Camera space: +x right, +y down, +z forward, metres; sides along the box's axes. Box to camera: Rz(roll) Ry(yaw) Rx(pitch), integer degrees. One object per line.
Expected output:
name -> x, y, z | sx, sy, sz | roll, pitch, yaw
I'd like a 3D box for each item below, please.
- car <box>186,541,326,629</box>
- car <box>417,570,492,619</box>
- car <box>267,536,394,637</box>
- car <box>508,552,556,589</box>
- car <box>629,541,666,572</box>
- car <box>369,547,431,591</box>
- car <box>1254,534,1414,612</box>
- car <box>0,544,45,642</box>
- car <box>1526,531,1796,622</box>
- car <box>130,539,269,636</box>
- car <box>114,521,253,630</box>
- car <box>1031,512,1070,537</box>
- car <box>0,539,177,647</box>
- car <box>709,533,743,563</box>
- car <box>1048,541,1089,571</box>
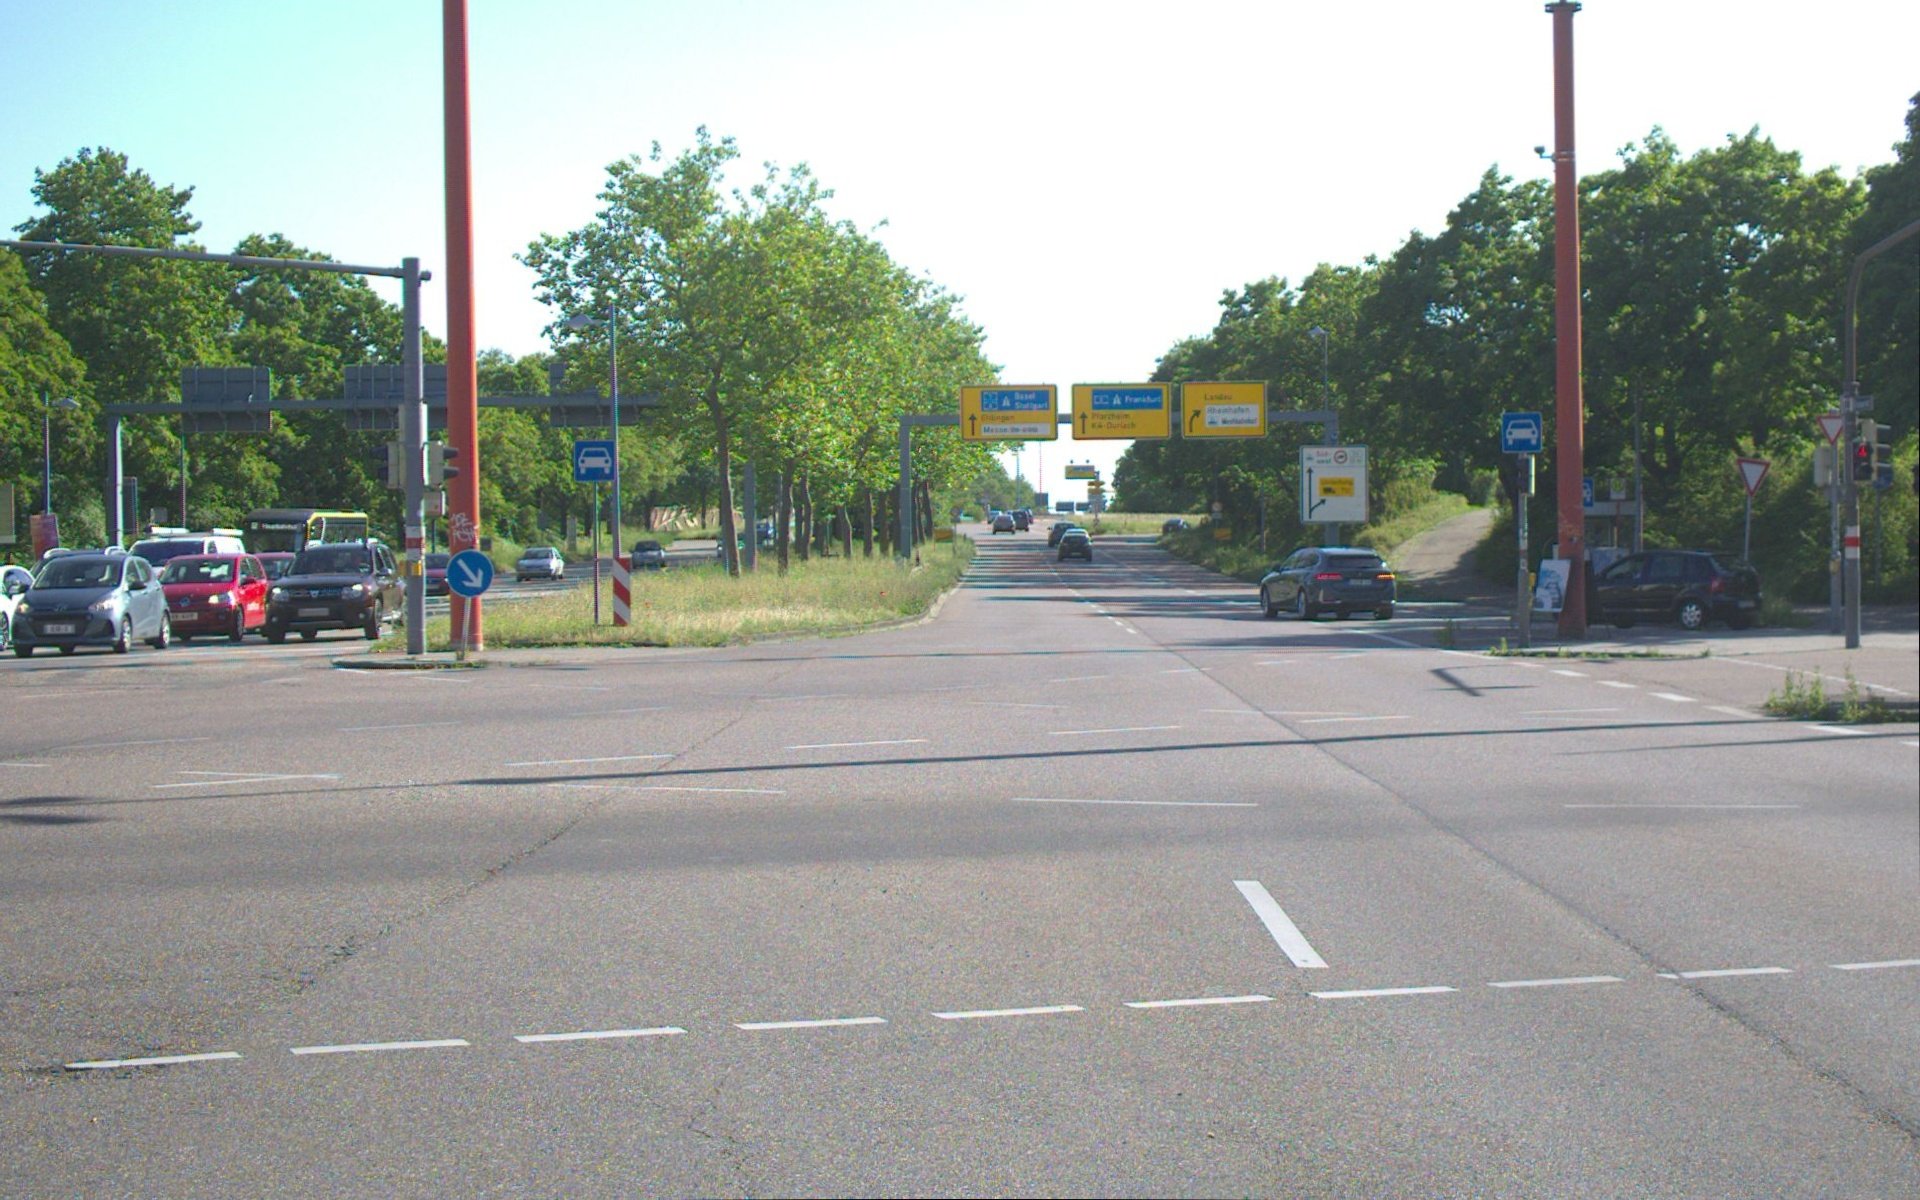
car -> -13.111, -0.301, 64.259 | 1.993, 1.568, 4.121 | -1, 1, -4
car -> -15.800, -0.191, 107.610 | 1.821, 1.449, 3.656 | -1, 1, 0
car -> -10.242, -0.249, 56.159 | 1.876, 1.568, 4.122 | -1, 1, -8
car -> -18.720, -1.314, 150.454 | 1.876, 1.568, 3.948 | -1, 1, -5
car -> -16.097, -2.249, 177.311 | 1.876, 1.568, 4.121 | -1, 1, -5
car -> -20.316, -1.140, 124.818 | 1.876, 1.568, 4.121 | -1, 1, -5
car -> 7.846, -0.592, 72.488 | 2.158, 1.568, 4.584 | -1, 1, -10
car -> -16.483, -0.121, 57.047 | 1.993, 1.568, 4.122 | -2, 1, -8
car -> 12.528, -0.432, 61.600 | 2.160, 1.568, 4.278 | -1, 1, -43
car -> -12.893, -0.240, 58.480 | 1.993, 1.568, 4.122 | -1, 1, -8
car -> -16.109, -0.534, 71.520 | 2.062, 2.185, 4.379 | -1, 1, -2
car -> 5.994, -4.972, 227.205 | 2.158, 1.568, 4.281 | -1, 1, -4
car -> -13.247, -0.135, 52.178 | 1.993, 1.568, 4.121 | -1, 1, -3
car -> -14.085, -3.108, 206.932 | 1.898, 1.764, 3.850 | -1, 1, -2
car -> 5.764, -2.353, 183.372 | 2.159, 1.568, 4.281 | -1, 1, 1
